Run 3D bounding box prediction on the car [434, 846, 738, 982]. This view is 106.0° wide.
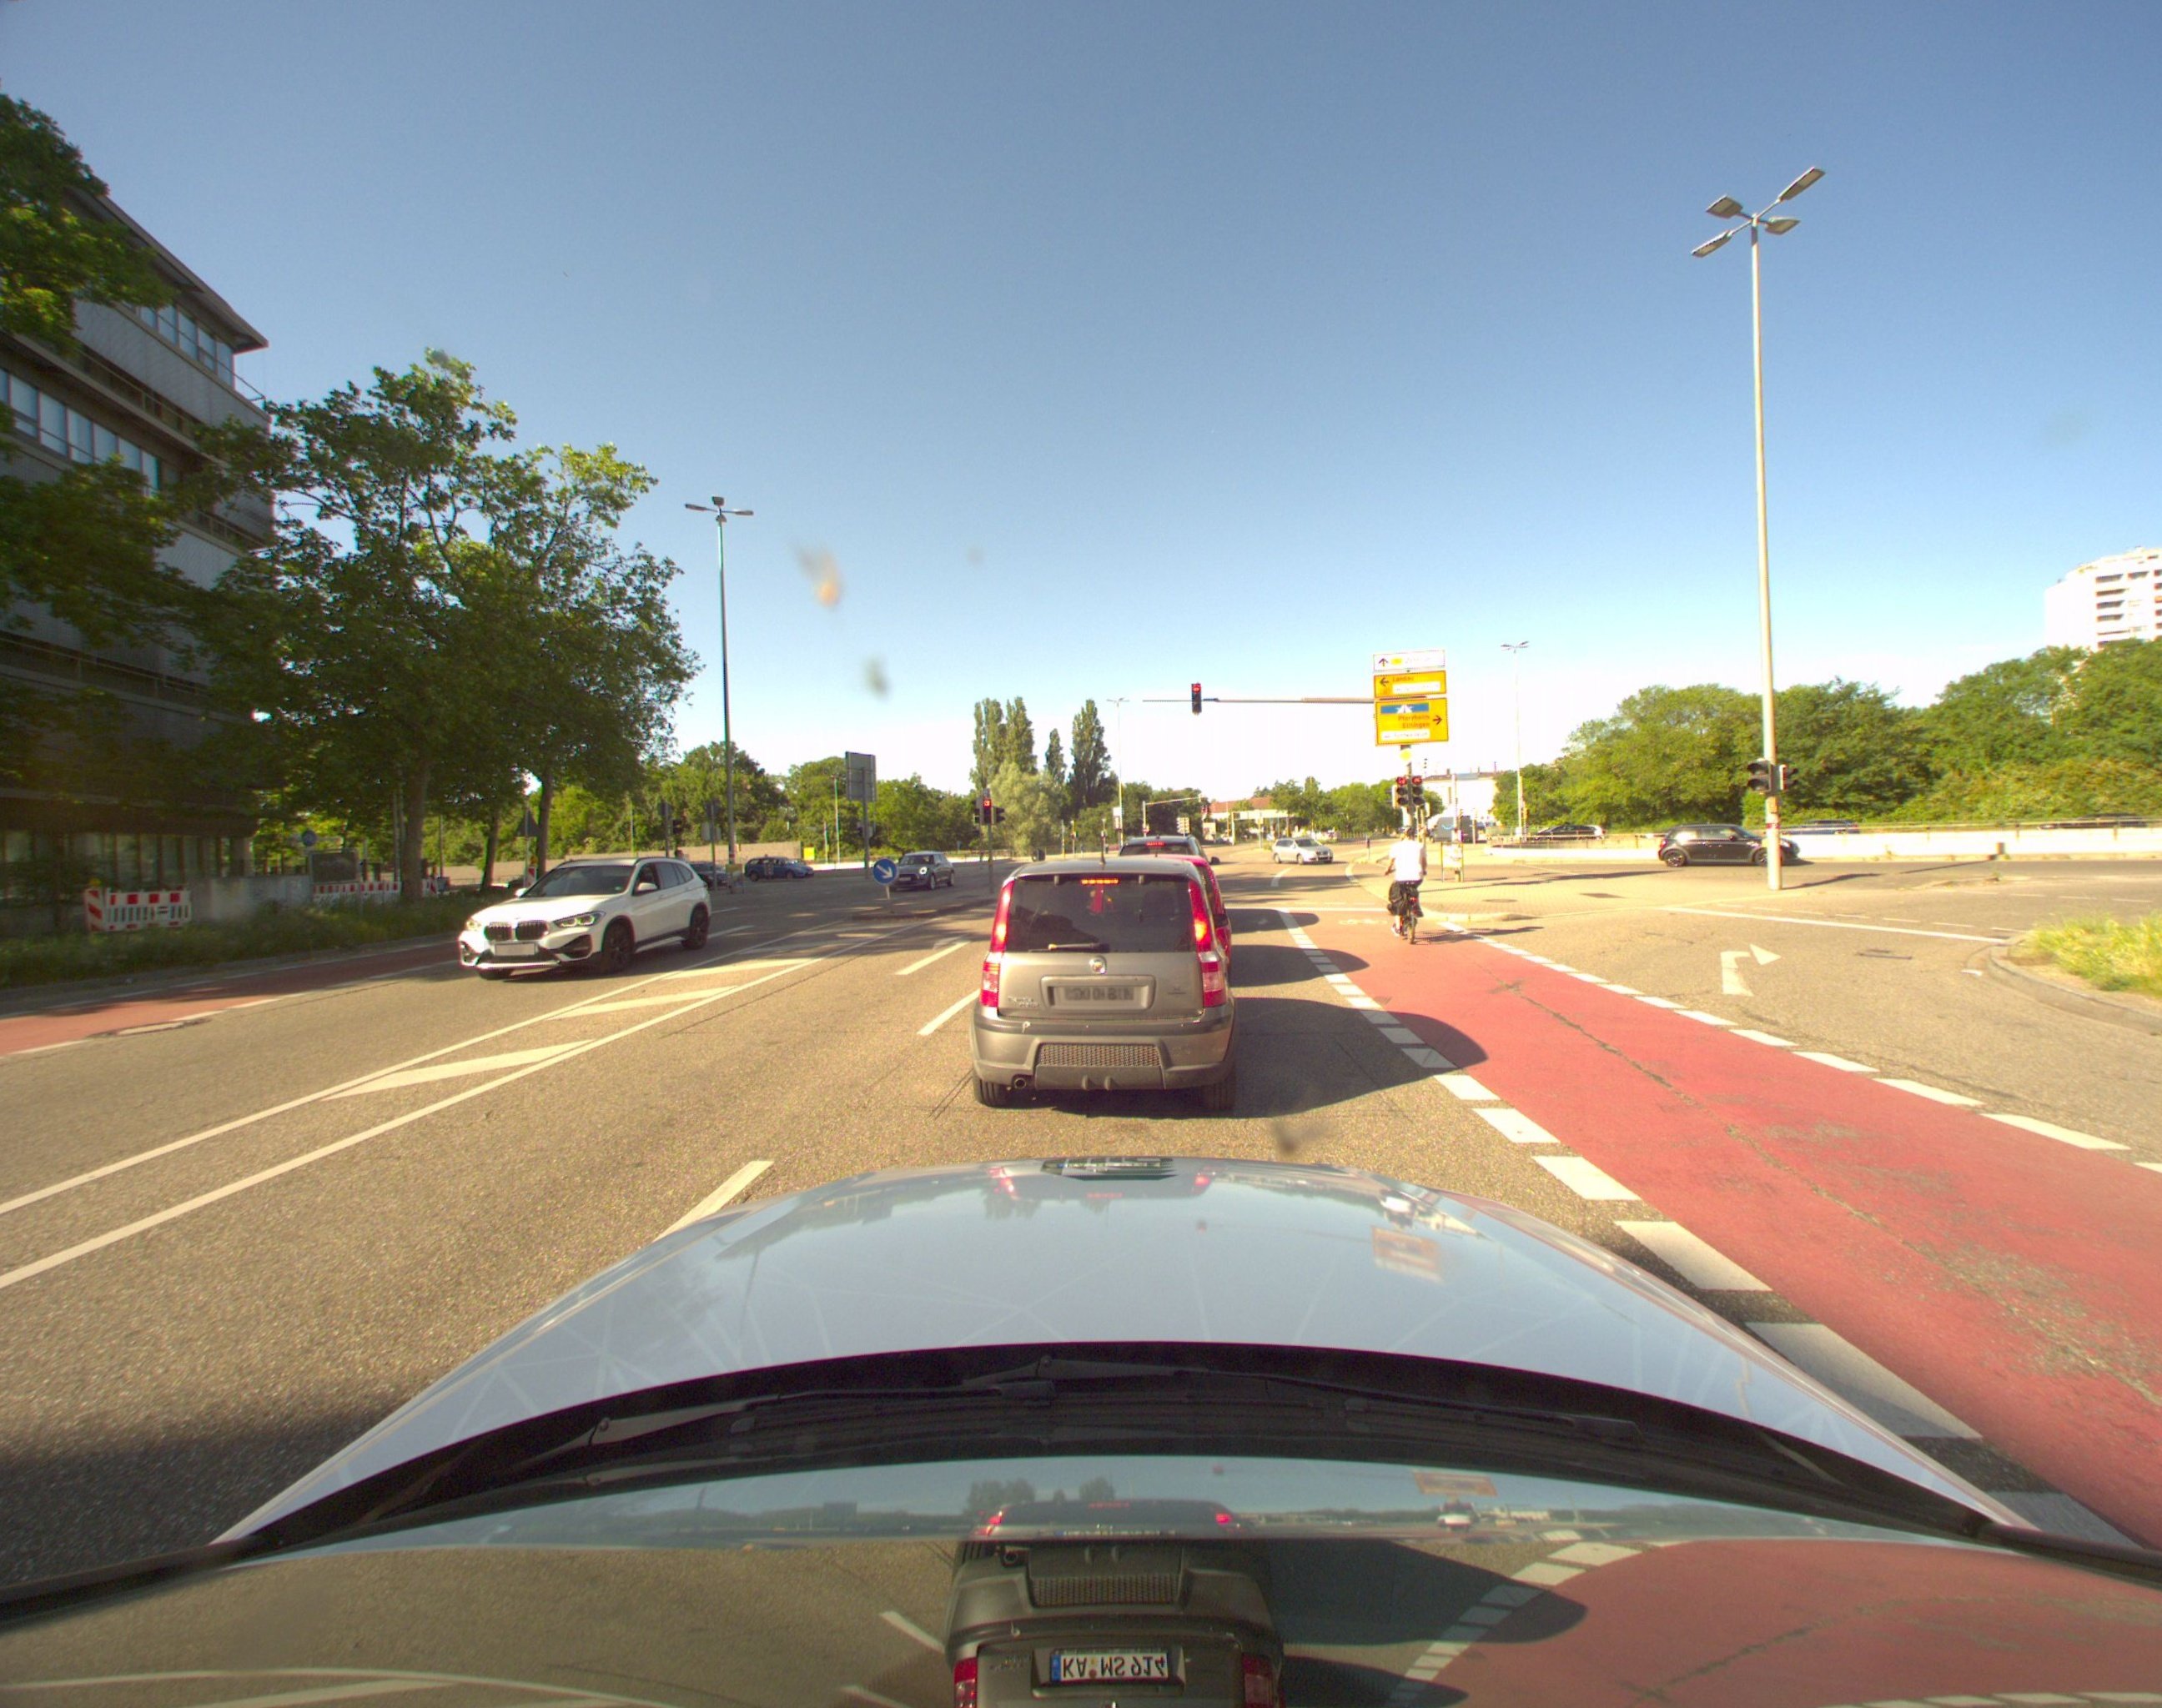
[{"bbox_3d":[-7.299,0.828,12.713,1.827,1.653,4.628,-3,-2,1],"label":"car"}]

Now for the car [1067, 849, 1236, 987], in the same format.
[{"bbox_3d":[0.924,0.685,10.810,1.811,1.479,4.005,0,0,5],"label":"car"}]

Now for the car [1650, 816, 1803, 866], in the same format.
[{"bbox_3d":[22.014,-0.428,27.833,3.949,1.452,2.013,-1,3,42],"label":"car"}]

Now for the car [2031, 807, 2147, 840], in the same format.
[{"bbox_3d":[60.400,-1.794,48.925,3.948,1.662,2.013,-2,-2,38],"label":"car"}]

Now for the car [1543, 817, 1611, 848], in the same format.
[{"bbox_3d":[36.386,-1.548,59.732,3.948,2.014,2.012,-3,-2,40],"label":"car"}]

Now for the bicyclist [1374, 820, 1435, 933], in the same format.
[{"bbox_3d":[5.149,0.331,12.937,0.792,1.704,1.092,0,1,27],"label":"bicyclist"}]

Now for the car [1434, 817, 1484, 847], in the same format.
[{"bbox_3d":[37.055,-2.104,79.949,2.251,2.607,4.875,-1,-2,-6],"label":"car"}]

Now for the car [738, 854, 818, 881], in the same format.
[{"bbox_3d":[-18.869,0.837,50.774,4.402,1.438,1.834,-2,0,16],"label":"car"}]

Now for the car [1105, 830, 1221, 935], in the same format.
[{"bbox_3d":[1.769,0.446,16.174,1.857,1.790,4.428,0,1,11],"label":"car"}]

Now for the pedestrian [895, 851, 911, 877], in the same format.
[{"bbox_3d":[-11.348,0.651,51.992,0.684,1.539,1.365,-1,-5,0],"label":"pedestrian"}]

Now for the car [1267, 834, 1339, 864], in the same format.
[{"bbox_3d":[11.903,-0.321,43.946,1.755,1.493,4.325,-2,2,-16],"label":"car"}]

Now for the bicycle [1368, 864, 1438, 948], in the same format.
[{"bbox_3d":[5.147,0.759,12.930,0.792,1.110,2.417,0,2,27],"label":"bicycle"}]

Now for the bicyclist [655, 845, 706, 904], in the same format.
[{"bbox_3d":[-12.154,0.605,24.748,0.682,1.701,1.203,-2,0,14],"label":"bicyclist"}]

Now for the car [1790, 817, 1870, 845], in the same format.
[{"bbox_3d":[51.444,-1.556,56.037,3.948,1.684,1.868,-3,-2,40],"label":"car"}]

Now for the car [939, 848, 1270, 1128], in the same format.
[{"bbox_3d":[0.310,0.708,6.465,1.811,1.489,4.006,0,1,5],"label":"car"}]

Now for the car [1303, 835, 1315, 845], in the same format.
[{"bbox_3d":[48.895,-2.987,174.617,1.995,1.855,4.912,-2,-2,22],"label":"car"}]

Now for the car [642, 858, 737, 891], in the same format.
[{"bbox_3d":[-19.646,1.046,40.851,4.396,1.438,1.836,-2,0,24],"label":"car"}]

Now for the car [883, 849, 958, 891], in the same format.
[{"bbox_3d":[-6.191,0.590,31.926,1.677,1.456,3.922,-2,1,7],"label":"car"}]
